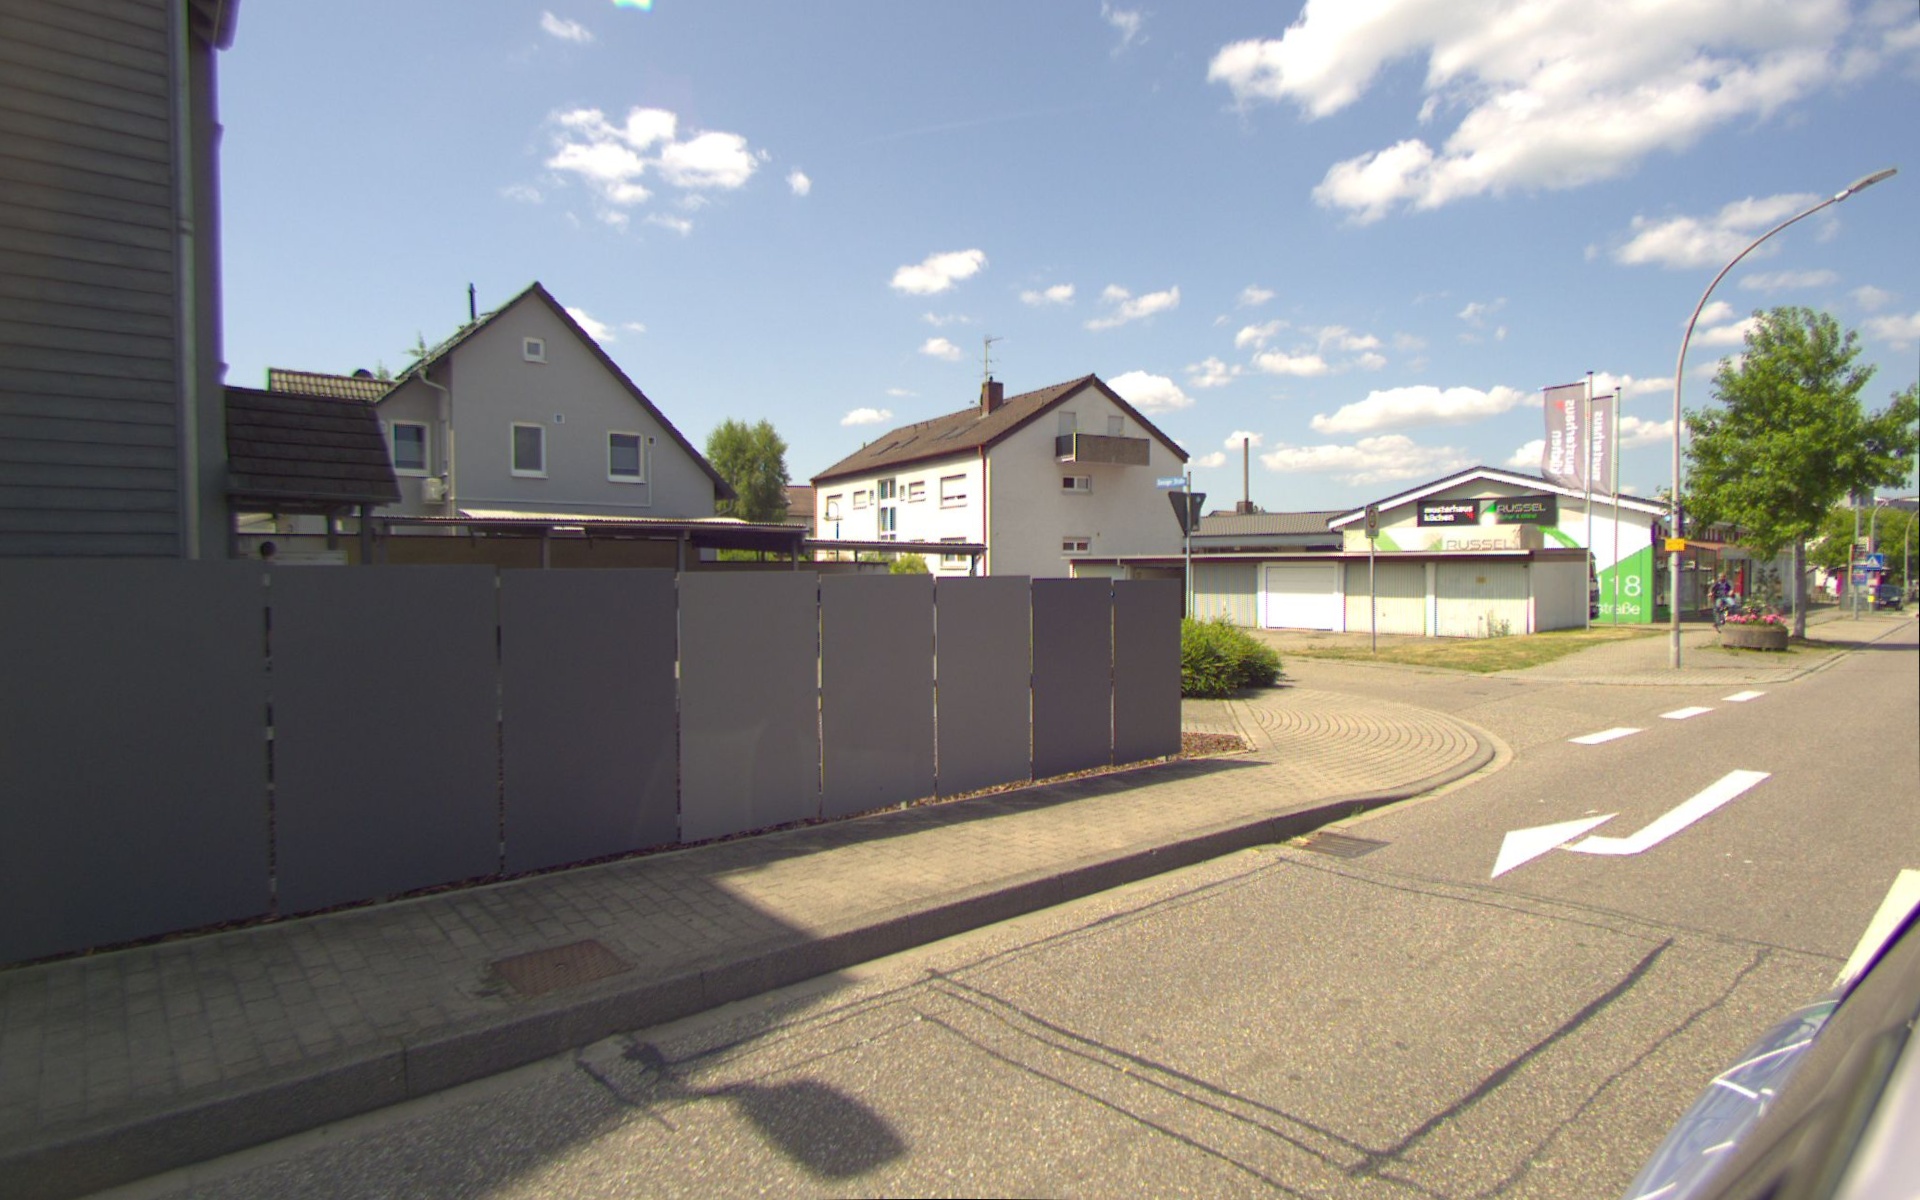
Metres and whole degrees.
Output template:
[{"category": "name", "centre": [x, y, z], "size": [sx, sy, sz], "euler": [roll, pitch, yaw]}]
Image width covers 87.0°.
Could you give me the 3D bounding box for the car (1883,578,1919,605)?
[{"category": "car", "centre": [55.725, -0.509, 59.640], "size": [3.699, 1.511, 1.726], "euler": [-2, 3, -45]}]

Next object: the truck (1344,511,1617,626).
[{"category": "truck", "centre": [18.157, -1.072, 35.833], "size": [2.634, 3.616, 8.177], "euler": [-2, 2, -43]}]

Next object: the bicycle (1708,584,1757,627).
[{"category": "bicycle", "centre": [22.328, 0.167, 29.235], "size": [1.911, 1.180, 0.803], "euler": [0, -2, -44]}]

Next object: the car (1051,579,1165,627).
[{"category": "car", "centre": [5.074, 0.048, 34.487], "size": [4.062, 1.521, 1.677], "euler": [-2, 2, -42]}]

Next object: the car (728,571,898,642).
[{"category": "car", "centre": [-3.583, 0.163, 24.990], "size": [3.785, 1.607, 1.740], "euler": [1, 1, -41]}]

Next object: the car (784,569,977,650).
[{"category": "car", "centre": [-1.737, 0.211, 23.054], "size": [4.141, 1.669, 1.740], "euler": [1, 1, -41]}]

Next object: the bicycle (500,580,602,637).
[{"category": "bicycle", "centre": [-8.773, 0.182, 21.769], "size": [1.917, 1.187, 0.649], "euler": [1, 0, -40]}]

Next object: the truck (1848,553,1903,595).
[{"category": "truck", "centre": [64.794, -1.858, 71.731], "size": [2.570, 2.795, 6.244], "euler": [2, 3, 40]}]

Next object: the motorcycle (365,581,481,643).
[{"category": "motorcycle", "centre": [-10.658, 0.241, 20.121], "size": [1.917, 1.178, 0.649], "euler": [1, 0, -40]}]

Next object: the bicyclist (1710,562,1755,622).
[{"category": "bicyclist", "centre": [22.274, -0.223, 29.185], "size": [1.093, 1.651, 0.803], "euler": [0, -3, -44]}]

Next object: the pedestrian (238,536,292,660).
[{"category": "pedestrian", "centre": [-8.980, -0.031, 13.072], "size": [0.526, 1.548, 0.482], "euler": [0, 1, -40]}]
